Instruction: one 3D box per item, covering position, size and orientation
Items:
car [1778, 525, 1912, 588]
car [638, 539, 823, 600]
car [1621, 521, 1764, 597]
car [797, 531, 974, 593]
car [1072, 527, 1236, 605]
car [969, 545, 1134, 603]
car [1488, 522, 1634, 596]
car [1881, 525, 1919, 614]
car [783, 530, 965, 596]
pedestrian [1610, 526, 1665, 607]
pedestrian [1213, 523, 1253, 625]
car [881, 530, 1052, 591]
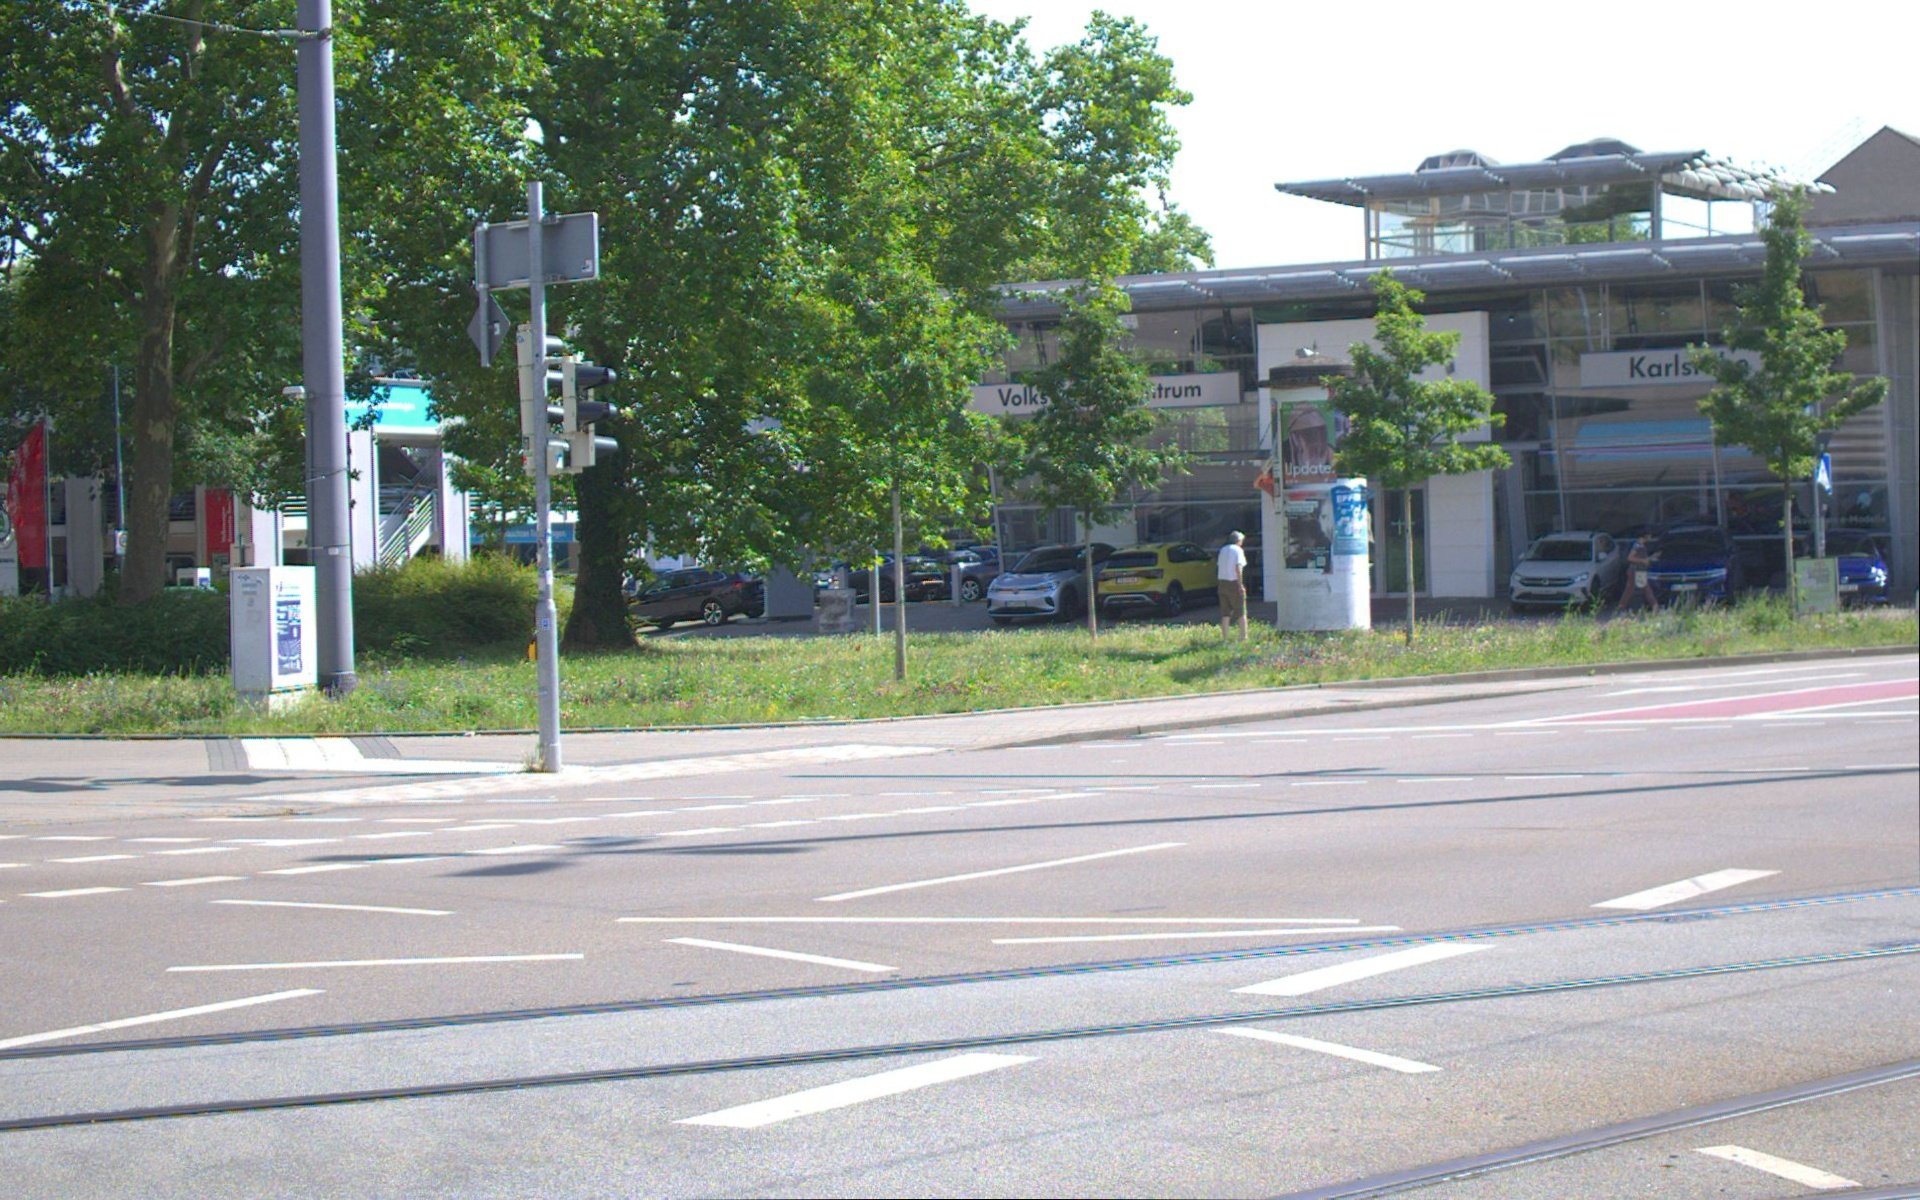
[{"bbox_3d":[17.747,-0.889,68.848,1.833,1.191,3.995,2,2,26],"label":"car"},{"bbox_3d":[-5.531,-0.761,82.898,3.993,1.366,1.997,2,2,27],"label":"car"},{"bbox_3d":[15.083,-0.857,70.662,1.996,1.481,3.995,2,2,25],"label":"car"},{"bbox_3d":[-1.891,-0.966,87.440,3.992,1.503,1.997,-1,1,26],"label":"car"},{"bbox_3d":[4.382,-0.772,77.160,1.997,1.678,3.993,2,1,32],"label":"car"},{"bbox_3d":[2.103,-0.609,77.895,1.997,1.240,3.993,2,2,32],"label":"car"},{"bbox_3d":[12.617,-0.875,71.966,1.996,1.481,3.995,2,2,25],"label":"car"},{"bbox_3d":[17.261,-0.446,55.177,4.596,1.431,1.441,2,2,41],"label":"car"},{"bbox_3d":[-2.118,-0.908,84.554,3.992,1.546,1.997,-1,1,26],"label":"car"},{"bbox_3d":[13.405,-0.661,68.004,0.954,1.574,0.533,1,1,24],"label":"pedestrian"},{"bbox_3d":[4.303,-0.411,54.157,0.462,1.590,0.393,0,1,-39],"label":"pedestrian"},{"bbox_3d":[0.169,-1.032,89.714,3.992,1.503,1.997,-1,1,26],"label":"car"}]
